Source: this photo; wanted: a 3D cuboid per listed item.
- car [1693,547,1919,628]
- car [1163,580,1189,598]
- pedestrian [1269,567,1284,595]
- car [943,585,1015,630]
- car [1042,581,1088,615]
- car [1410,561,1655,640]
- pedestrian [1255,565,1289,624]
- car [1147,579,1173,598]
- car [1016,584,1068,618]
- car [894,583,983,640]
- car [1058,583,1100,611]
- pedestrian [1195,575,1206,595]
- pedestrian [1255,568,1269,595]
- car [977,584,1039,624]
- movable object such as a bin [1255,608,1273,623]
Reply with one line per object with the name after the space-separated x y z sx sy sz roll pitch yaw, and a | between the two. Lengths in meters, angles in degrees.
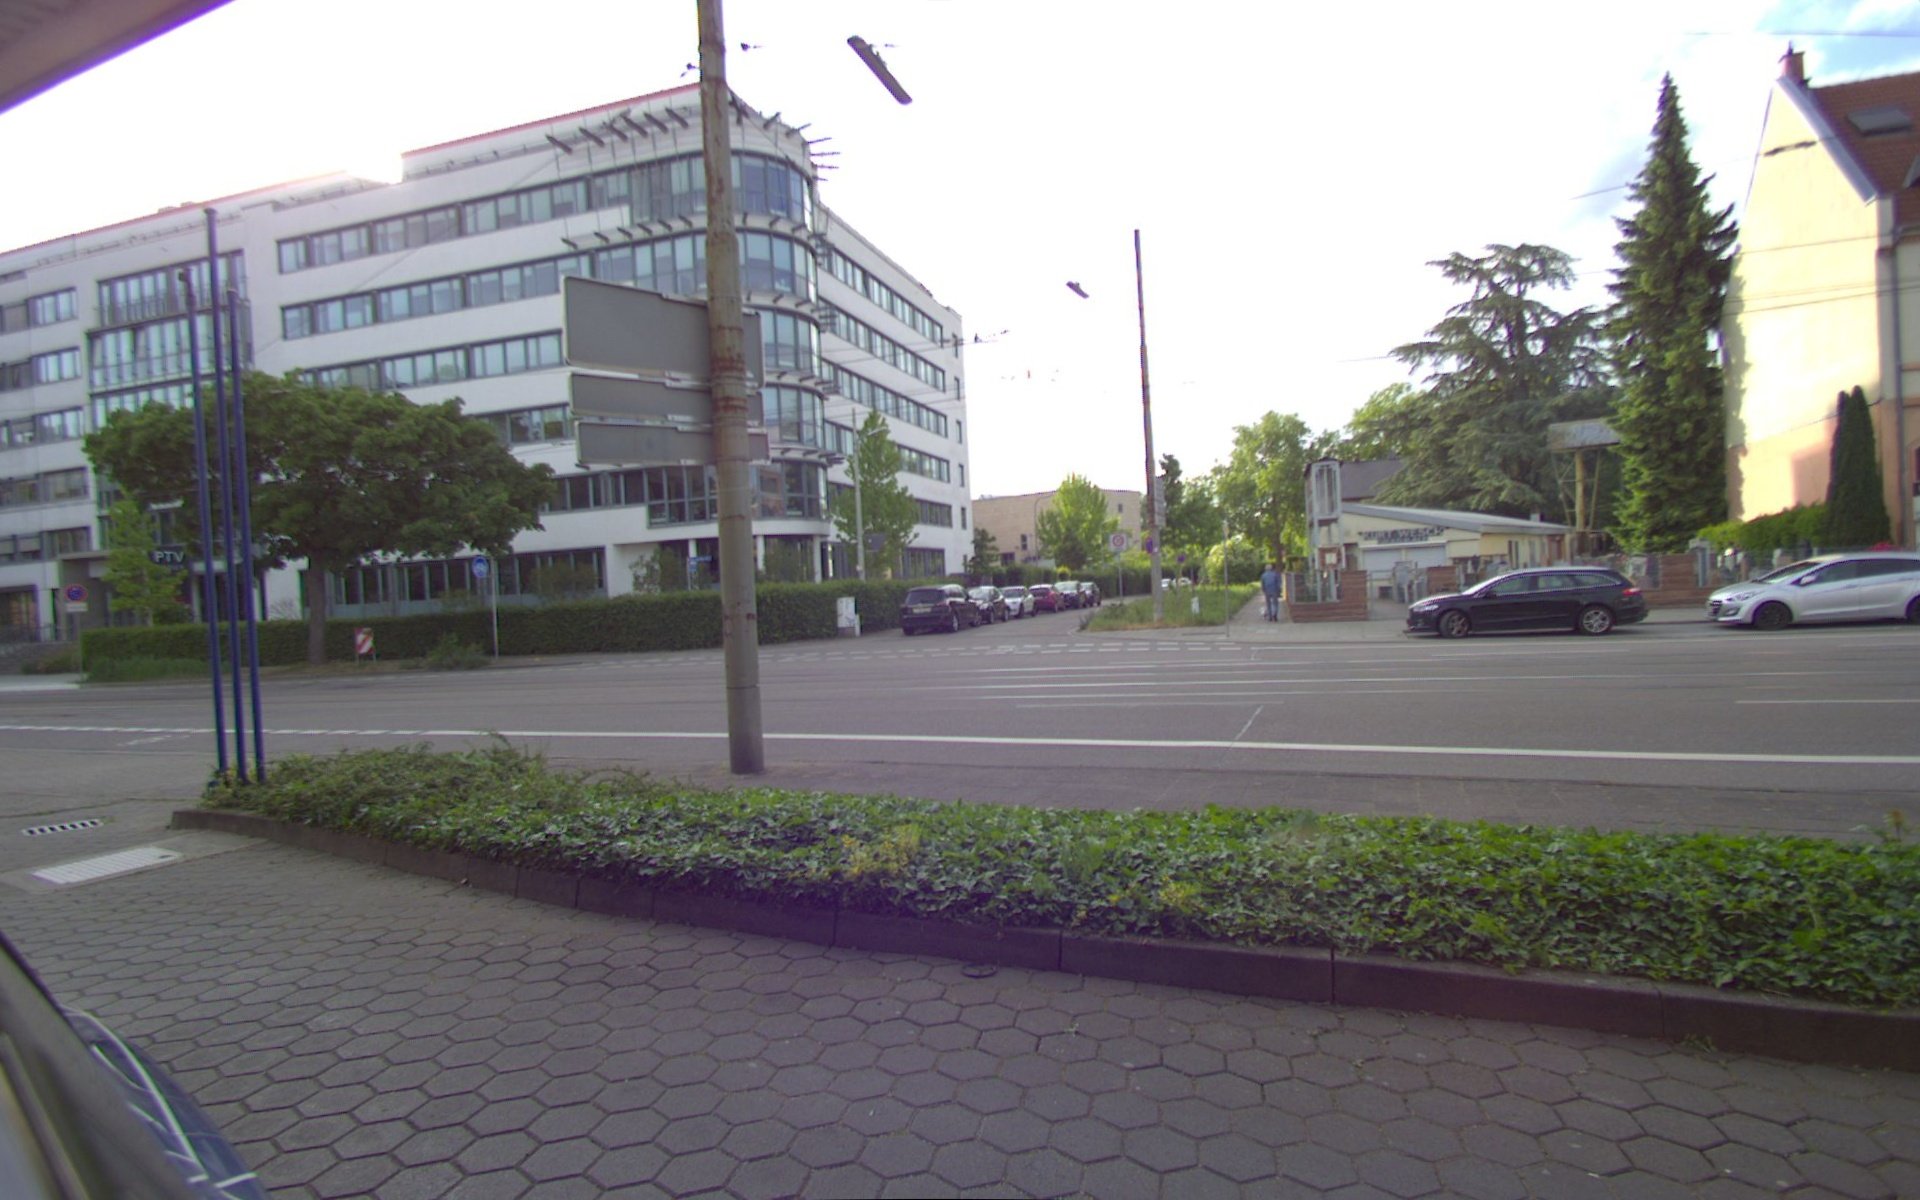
18.408 -0.272 21.388 4.349 1.493 1.732 -3 1 22 | car
22.840 -1.165 106.845 1.813 1.654 4.040 -4 0 25 | car
22.374 -1.329 71.498 0.965 1.896 1.056 -1 0 17 | pedestrian
0.833 0.266 40.973 1.807 1.589 4.175 -4 0 16 | car
6.034 -0.142 57.796 1.807 1.704 4.392 -4 0 16 | car
13.015 0.004 23.358 4.632 1.533 1.842 -3 2 22 | car
9.385 -0.174 30.444 0.903 1.712 0.919 -2 3 20 | pedestrian
19.962 -1.144 100.898 1.811 1.654 4.044 -4 0 22 | car
4.303 0.017 52.398 1.807 1.589 4.175 -4 0 16 | car
-0.685 0.353 35.558 1.807 1.701 4.370 -4 1 16 | car
7.389 -0.219 62.562 1.807 1.585 4.052 -4 0 16 | car
23.163 -1.435 97.470 0.966 1.896 1.055 -1 0 20 | pedestrian
21.428 -1.290 71.804 0.965 1.896 1.056 -1 0 17 | pedestrian
2.227 0.147 45.677 1.807 1.589 4.175 -4 0 16 | car
9.539 0.476 31.729 0.362 0.397 0.663 -3 3 1 | movable object such as a bin
